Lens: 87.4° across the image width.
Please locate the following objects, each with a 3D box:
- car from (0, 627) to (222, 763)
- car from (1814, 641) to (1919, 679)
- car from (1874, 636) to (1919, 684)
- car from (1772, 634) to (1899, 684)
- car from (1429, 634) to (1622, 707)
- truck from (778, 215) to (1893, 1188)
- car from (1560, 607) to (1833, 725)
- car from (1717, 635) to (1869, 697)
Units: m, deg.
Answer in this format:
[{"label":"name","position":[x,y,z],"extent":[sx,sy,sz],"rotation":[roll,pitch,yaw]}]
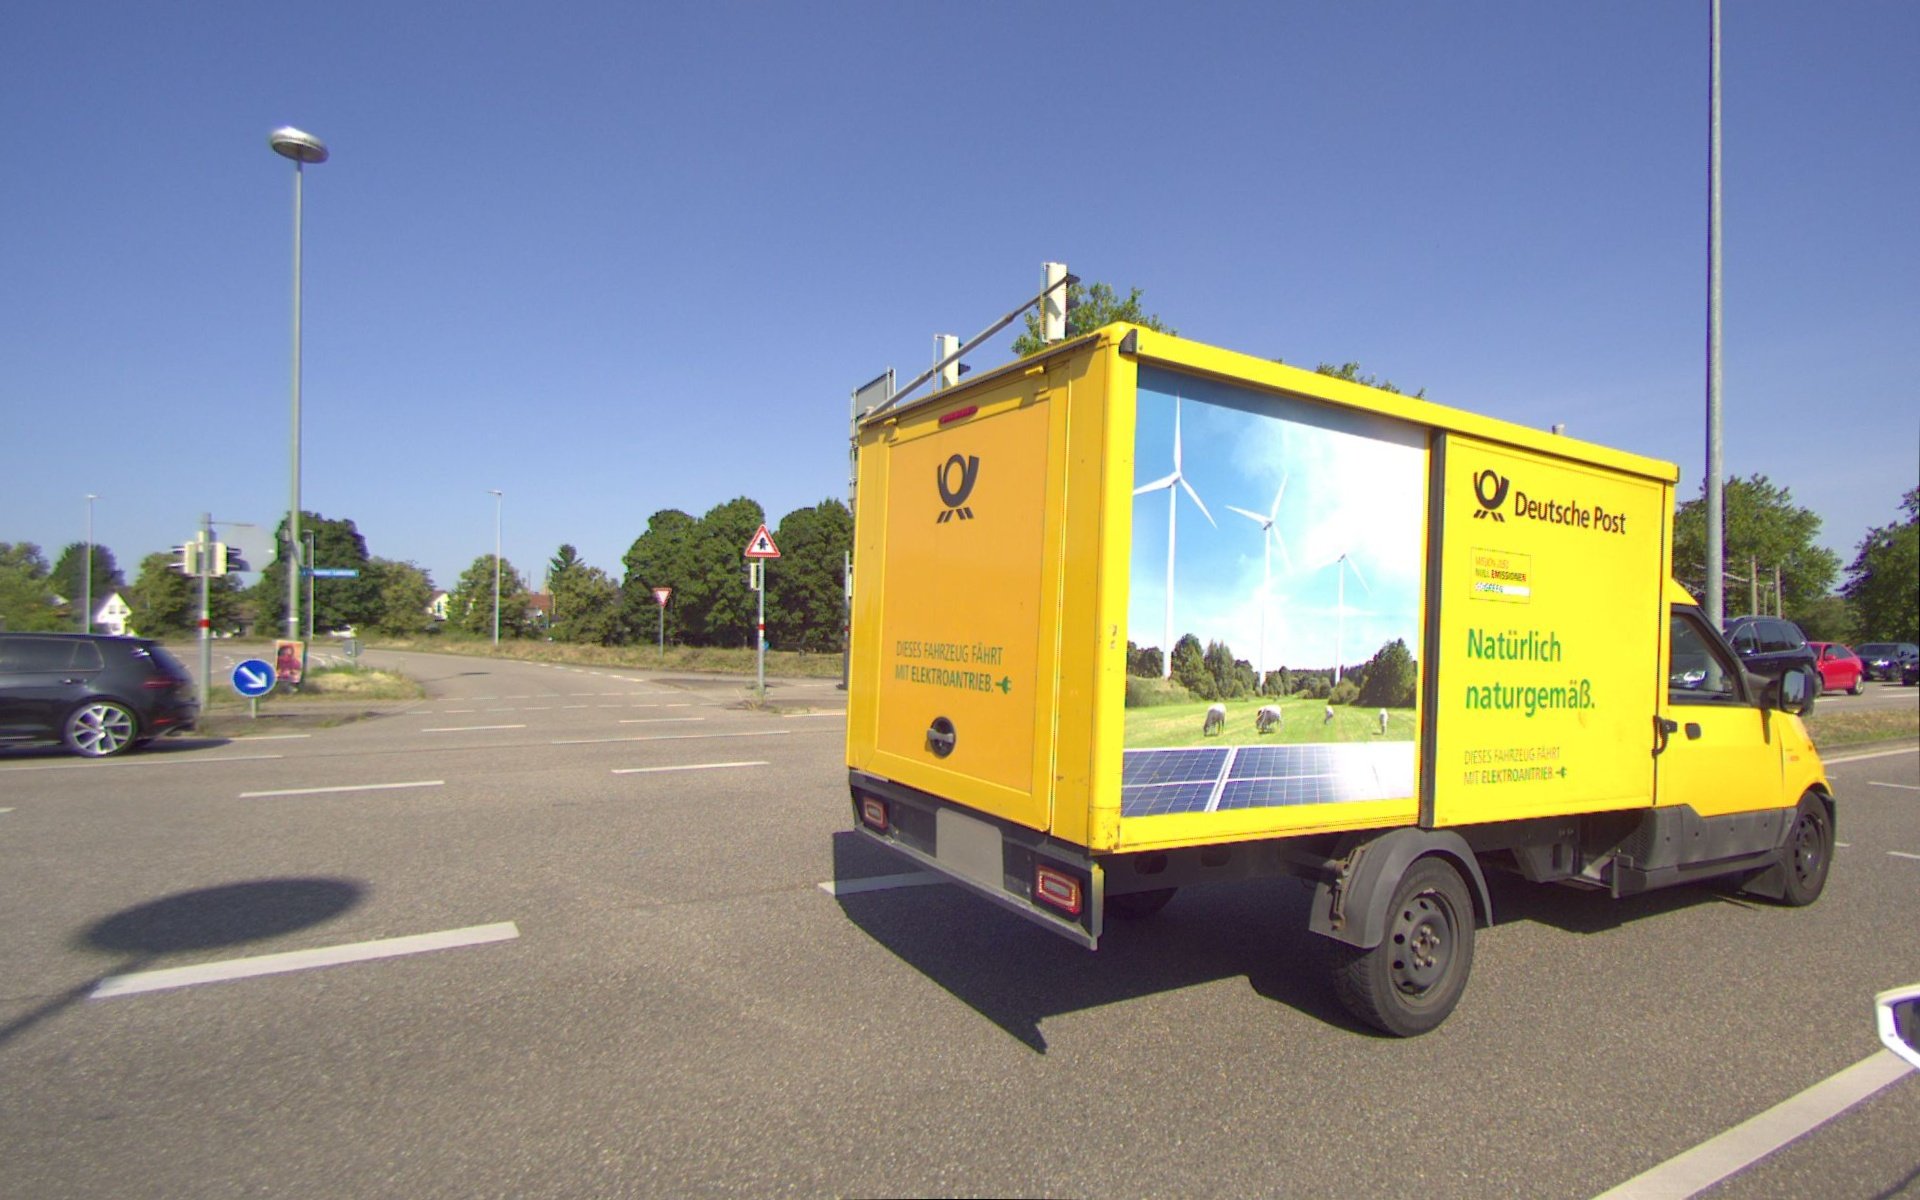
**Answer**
[{"label":"car","position":[-11.218,1.048,11.574],"extent":[4.182,1.476,1.875],"rotation":[2,-2,-32]},{"label":"car","position":[34.979,2.284,38.658],"extent":[3.952,1.349,1.985],"rotation":[2,-2,-30]},{"label":"car","position":[31.863,1.941,32.541],"extent":[4.394,1.476,1.974],"rotation":[2,-2,-28]},{"label":"car","position":[30.710,2.065,35.202],"extent":[4.438,1.643,2.062],"rotation":[2,-4,-31]},{"label":"car","position":[11.916,1.434,21.156],"extent":[3.795,1.404,1.822],"rotation":[2,-2,-28]},{"label":"truck","position":[2.253,0.341,5.031],"extent":[5.851,2.490,2.100],"rotation":[2,-1,-32]},{"label":"car","position":[12.487,1.087,17.013],"extent":[4.451,1.773,1.974],"rotation":[1,-3,-28]},{"label":"car","position":[22.013,1.709,26.523],"extent":[3.952,1.504,1.807],"rotation":[2,-2,-29]}]
